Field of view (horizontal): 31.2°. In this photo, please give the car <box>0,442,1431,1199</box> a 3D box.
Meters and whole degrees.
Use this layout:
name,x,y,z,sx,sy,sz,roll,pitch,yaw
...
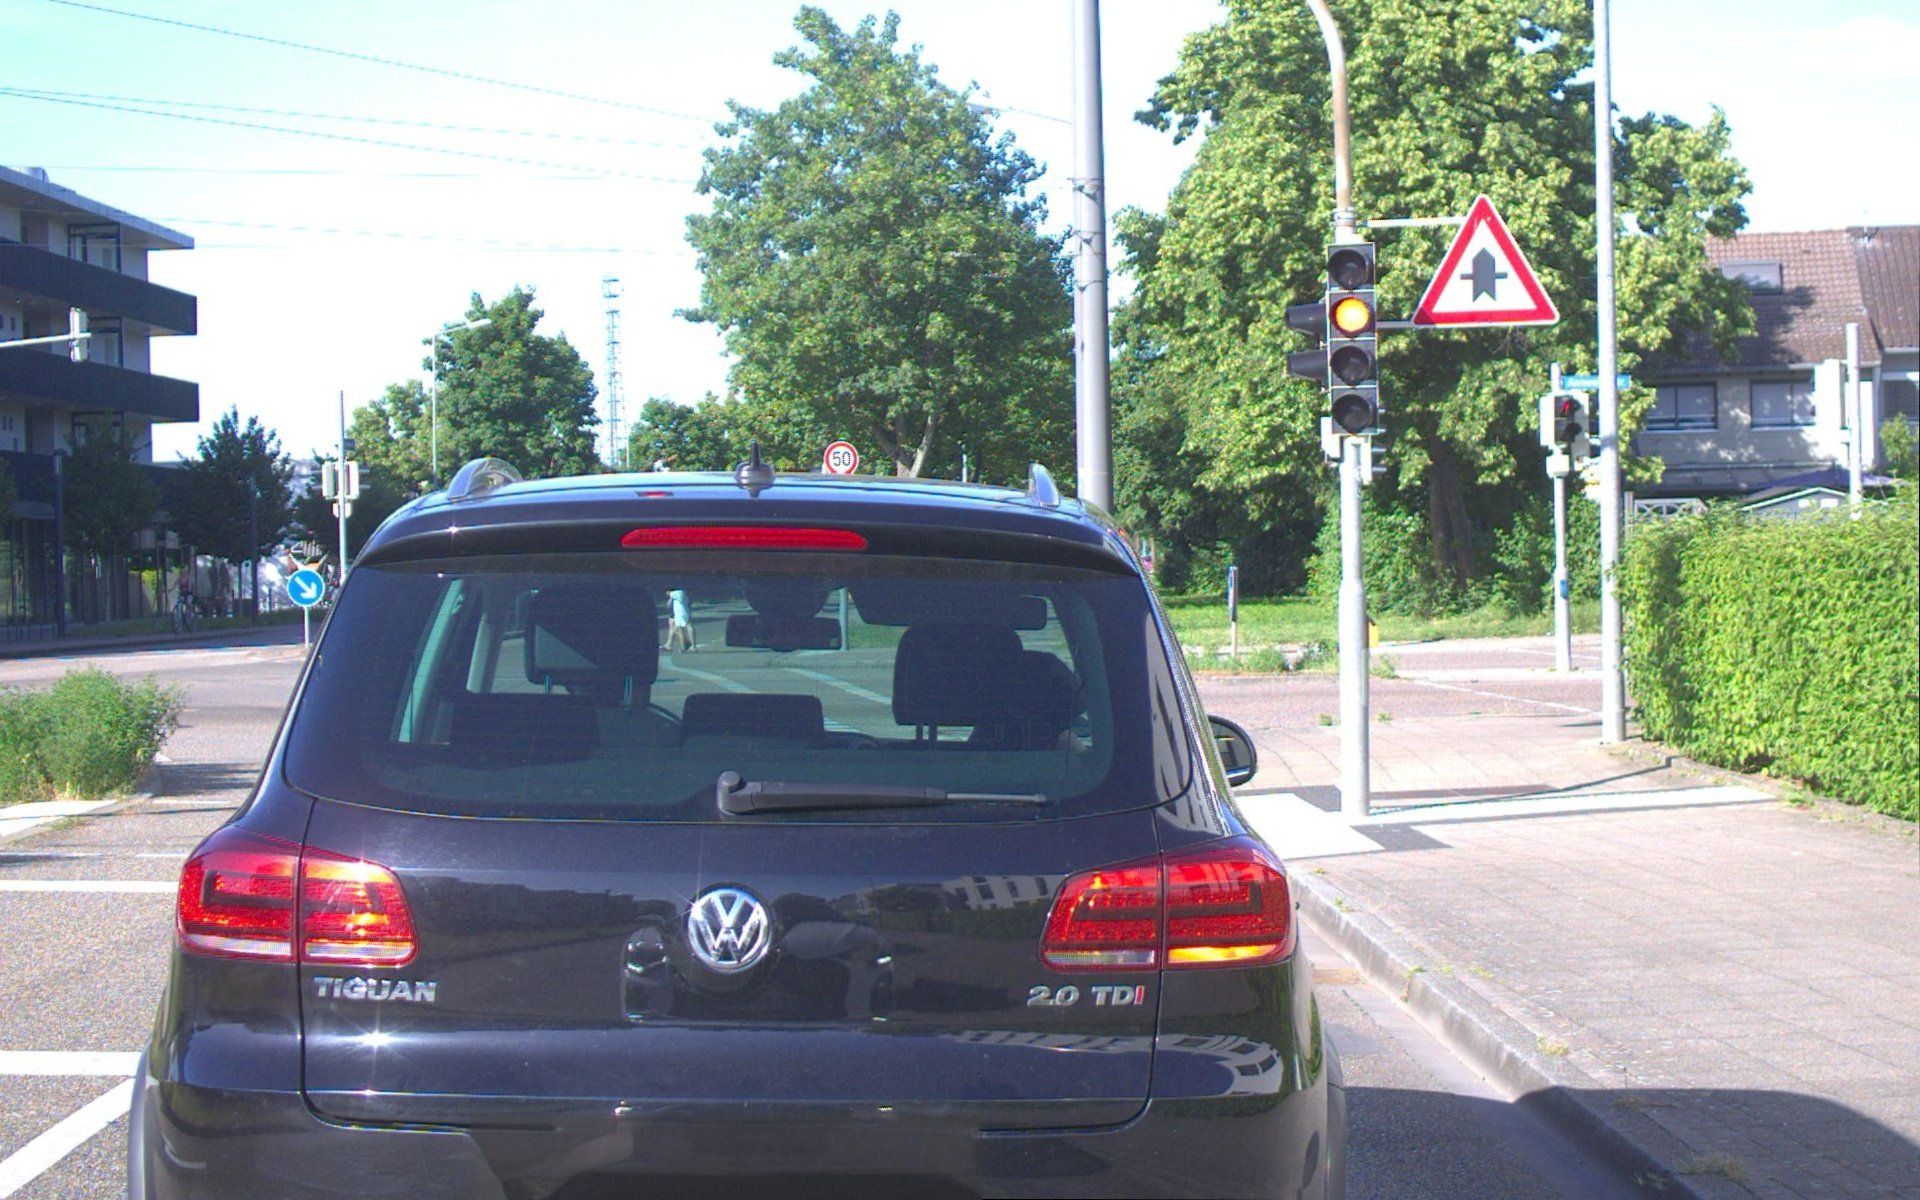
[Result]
name,x,y,z,sx,sy,sz,roll,pitch,yaw
car,-0.405,0.583,6.484,1.905,1.637,4.000,0,1,-2

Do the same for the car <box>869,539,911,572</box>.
name,x,y,z,sx,sy,sz,roll,pitch,yaw
car,-3.015,-1.896,146.970,1.751,1.382,4.000,0,1,-2

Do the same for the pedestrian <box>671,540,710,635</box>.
name,x,y,z,sx,sy,sz,roll,pitch,yaw
pedestrian,-4.686,-0.220,59.876,0.603,1.634,0.529,0,1,4

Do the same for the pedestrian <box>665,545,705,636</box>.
name,x,y,z,sx,sy,sz,roll,pitch,yaw
pedestrian,-4.733,-0.167,59.208,0.603,1.559,0.529,0,1,4

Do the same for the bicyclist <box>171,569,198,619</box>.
name,x,y,z,sx,sy,sz,roll,pitch,yaw
bicyclist,-18.963,-0.144,84.052,0.474,1.219,0.712,0,1,3

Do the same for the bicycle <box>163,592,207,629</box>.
name,x,y,z,sx,sy,sz,roll,pitch,yaw
bicycle,-18.965,0.247,84.122,0.496,0.845,2.078,0,1,3

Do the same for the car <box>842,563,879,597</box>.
name,x,y,z,sx,sy,sz,roll,pitch,yaw
car,-5.021,-1.015,173.817,1.656,1.634,4.000,0,1,1
